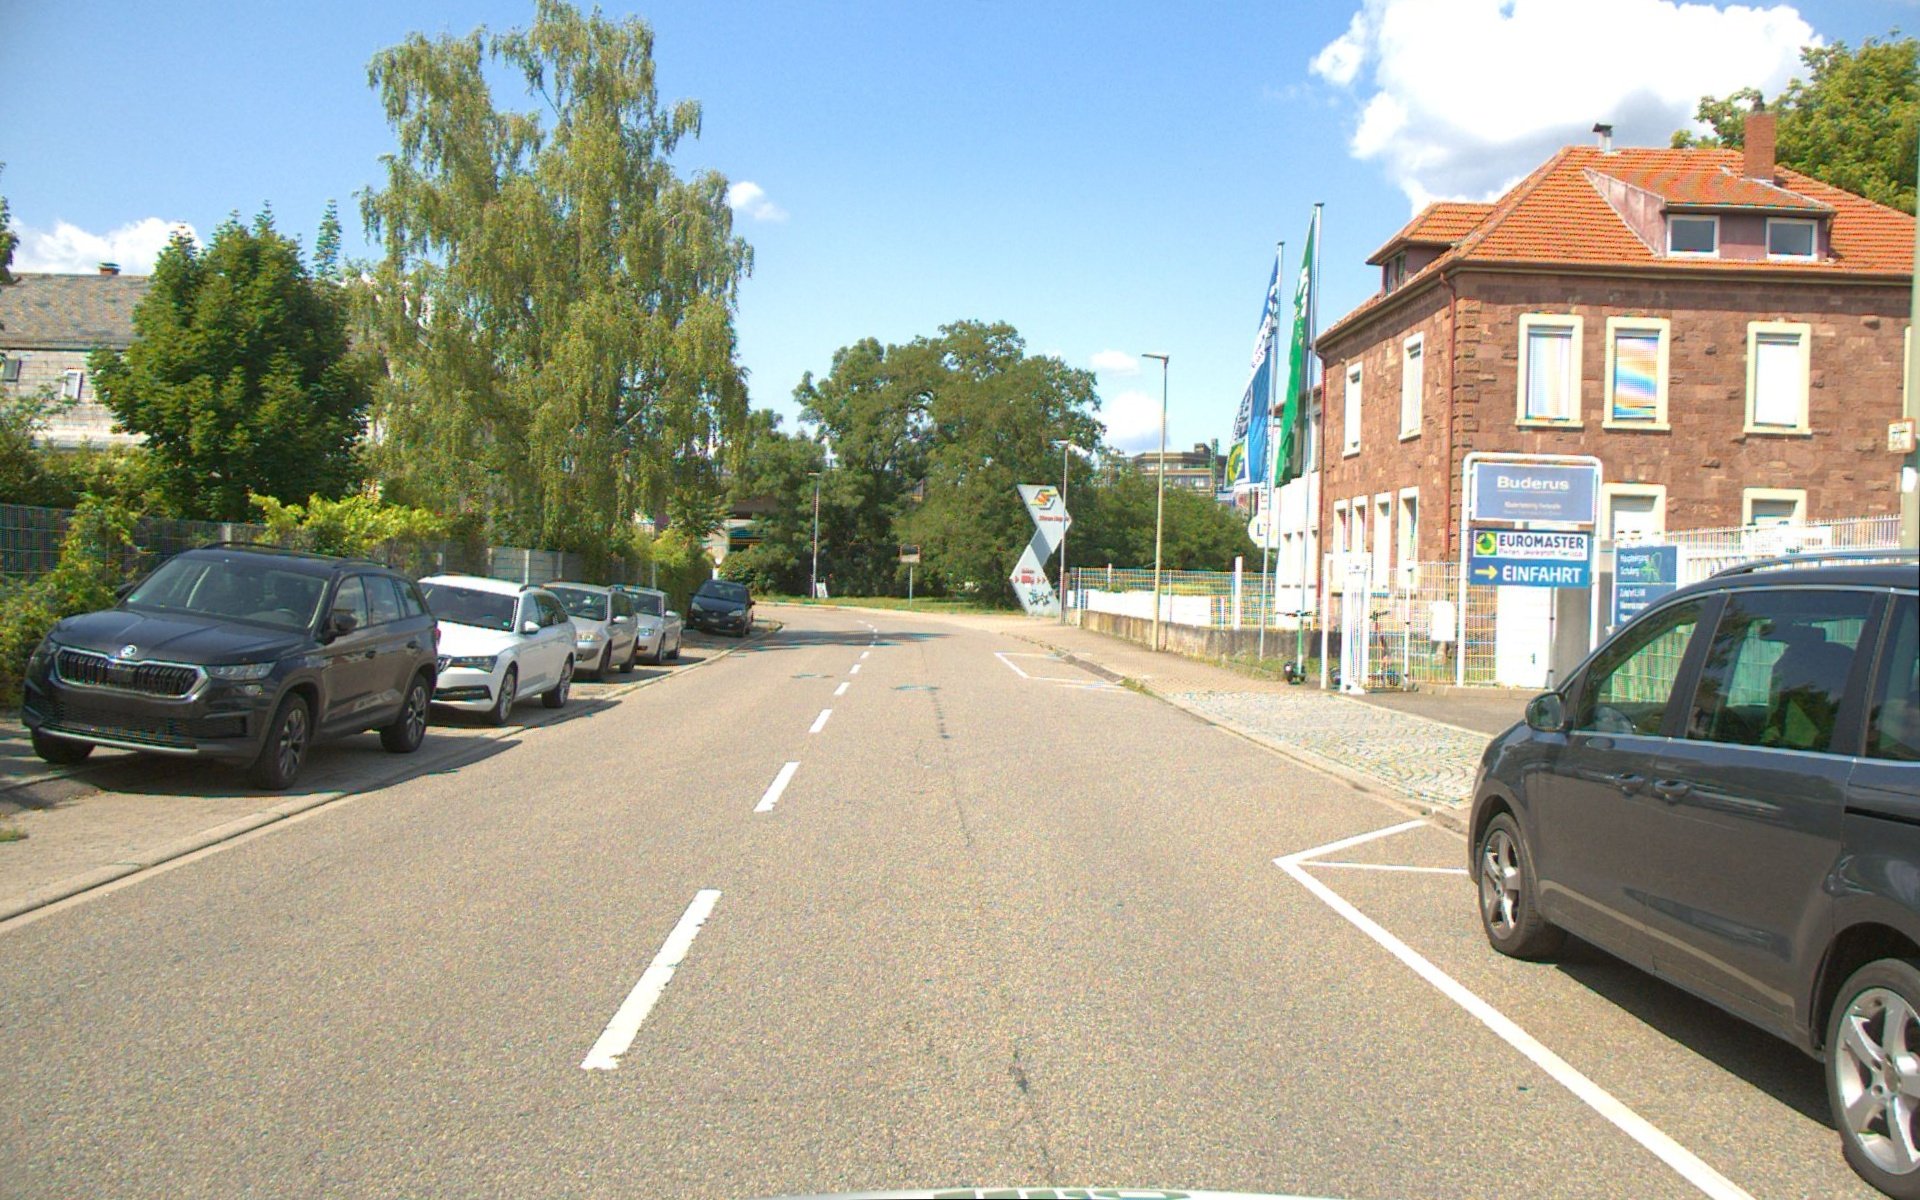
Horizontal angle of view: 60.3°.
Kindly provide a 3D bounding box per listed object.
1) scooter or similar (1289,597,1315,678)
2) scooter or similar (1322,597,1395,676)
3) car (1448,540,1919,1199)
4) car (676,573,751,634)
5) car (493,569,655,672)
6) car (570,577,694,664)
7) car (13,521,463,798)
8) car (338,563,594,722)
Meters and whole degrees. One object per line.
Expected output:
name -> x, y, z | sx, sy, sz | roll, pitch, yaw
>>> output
scooter or similar -> 5.702, 0.618, 27.575 | 0.326, 1.335, 0.366 | 1, 1, -2
scooter or similar -> 6.497, 0.590, 26.959 | 1.122, 1.267, 0.259 | 1, 0, 16
car -> 3.317, 0.684, 5.746 | 1.788, 1.693, 4.555 | 1, 1, -1
car -> -7.143, 0.087, 48.215 | 1.649, 1.538, 4.155 | 5, 0, -3
car -> -6.414, 0.284, 27.952 | 1.758, 1.554, 4.658 | 1, 1, -2
car -> -6.649, 0.355, 33.950 | 1.690, 1.502, 4.629 | 6, 1, -3
car -> -5.573, 0.368, 13.491 | 1.578, 1.775, 4.636 | 3, 1, 0
car -> -5.690, 0.412, 19.680 | 1.665, 1.622, 4.786 | 1, 1, -1
